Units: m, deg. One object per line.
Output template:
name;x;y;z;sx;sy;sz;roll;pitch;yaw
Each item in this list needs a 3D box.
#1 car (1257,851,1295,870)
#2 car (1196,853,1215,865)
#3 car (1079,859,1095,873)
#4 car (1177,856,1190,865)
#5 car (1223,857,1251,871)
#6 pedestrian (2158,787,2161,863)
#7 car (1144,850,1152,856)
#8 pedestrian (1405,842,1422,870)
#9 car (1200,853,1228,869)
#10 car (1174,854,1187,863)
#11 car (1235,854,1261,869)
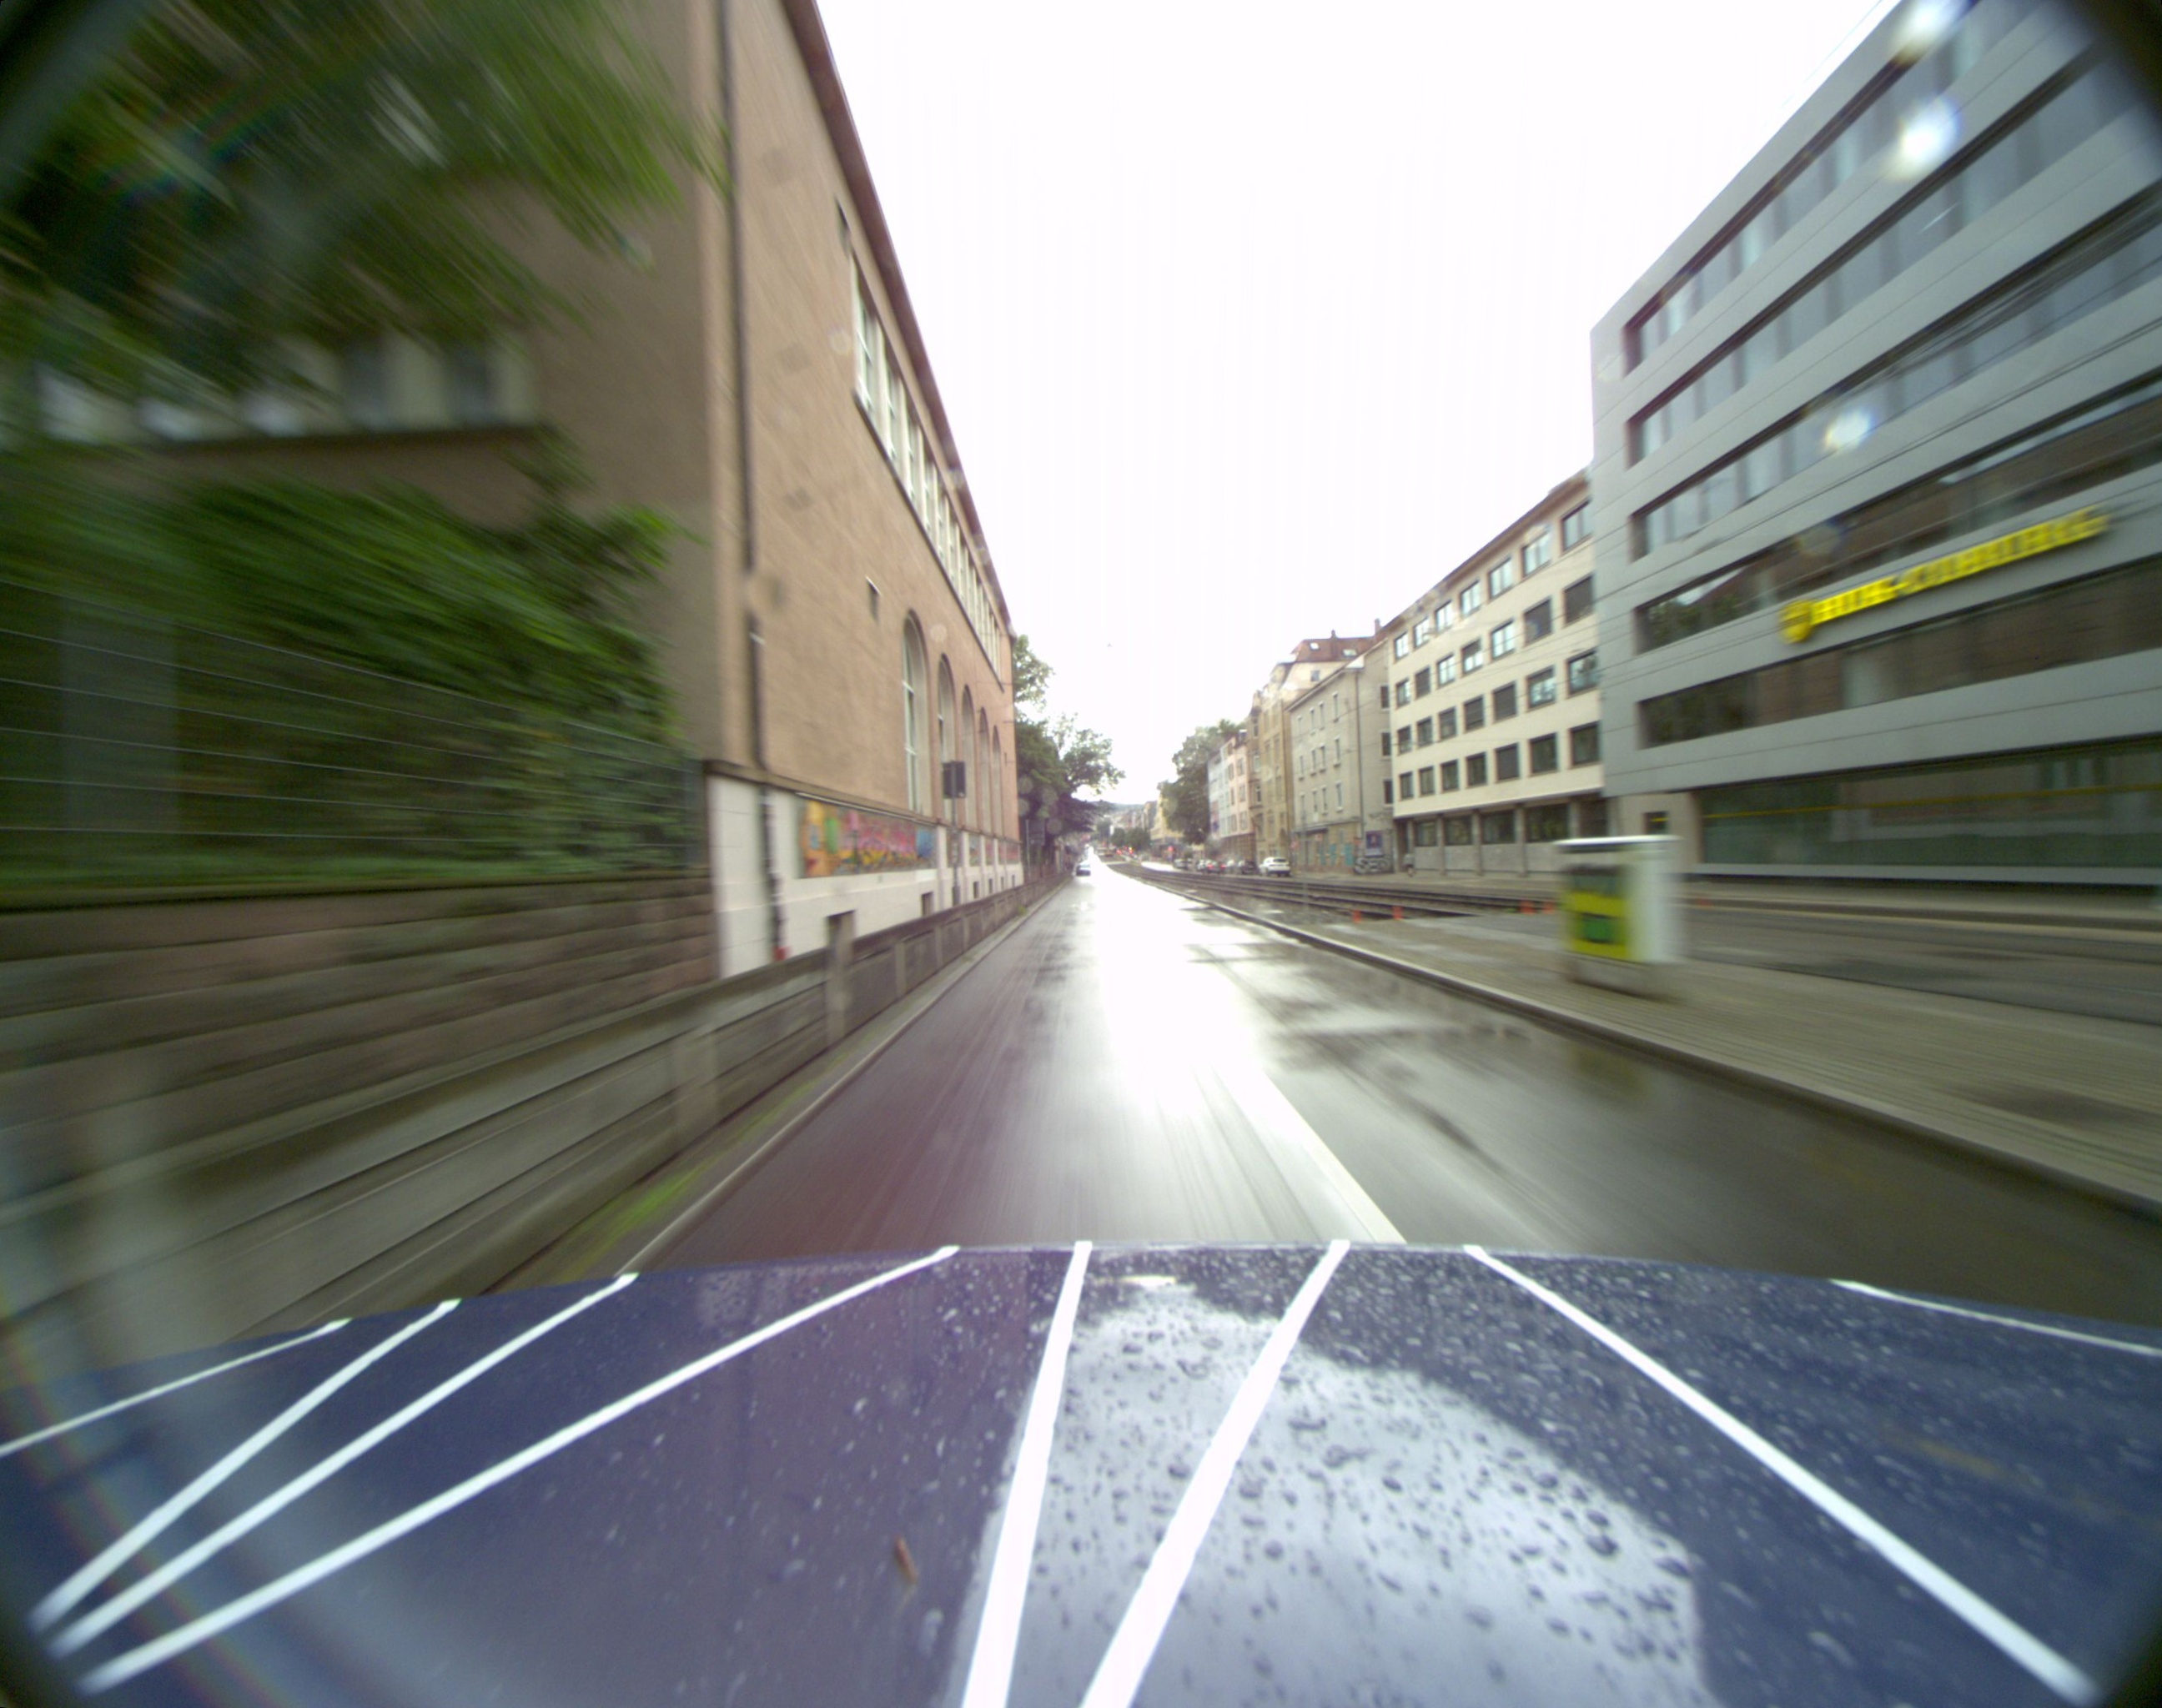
car;16.543;0.532;64.663;1.998;1.527;4.749;1;0;0
car;16.984;0.700;103.504;1.843;1.595;4.228;-1;0;-1
car;0.714;1.374;90.505;1.788;1.521;4.245;-2;0;2
car;17.743;1.103;131.922;1.842;1.532;4.228;-1;0;2
car;16.721;1.071;81.777;1.998;1.447;5.022;1;0;0
pedestrian;18.487;-0.139;12.369;0.662;2.002;0.810;-4;1;-2
car;21.419;-0.280;242.626;1.998;1.674;4.000;-2;0;2
pedestrian;19.911;0.126;45.503;0.548;1.603;0.799;-5;0;3
car;13.481;0.675;77.159;1.945;1.527;4.348;1;0;-3
car;17.852;0.746;136.748;1.842;1.532;4.228;-1;0;2
car;16.686;0.769;76.143;1.740;1.447;4.170;1;0;0
